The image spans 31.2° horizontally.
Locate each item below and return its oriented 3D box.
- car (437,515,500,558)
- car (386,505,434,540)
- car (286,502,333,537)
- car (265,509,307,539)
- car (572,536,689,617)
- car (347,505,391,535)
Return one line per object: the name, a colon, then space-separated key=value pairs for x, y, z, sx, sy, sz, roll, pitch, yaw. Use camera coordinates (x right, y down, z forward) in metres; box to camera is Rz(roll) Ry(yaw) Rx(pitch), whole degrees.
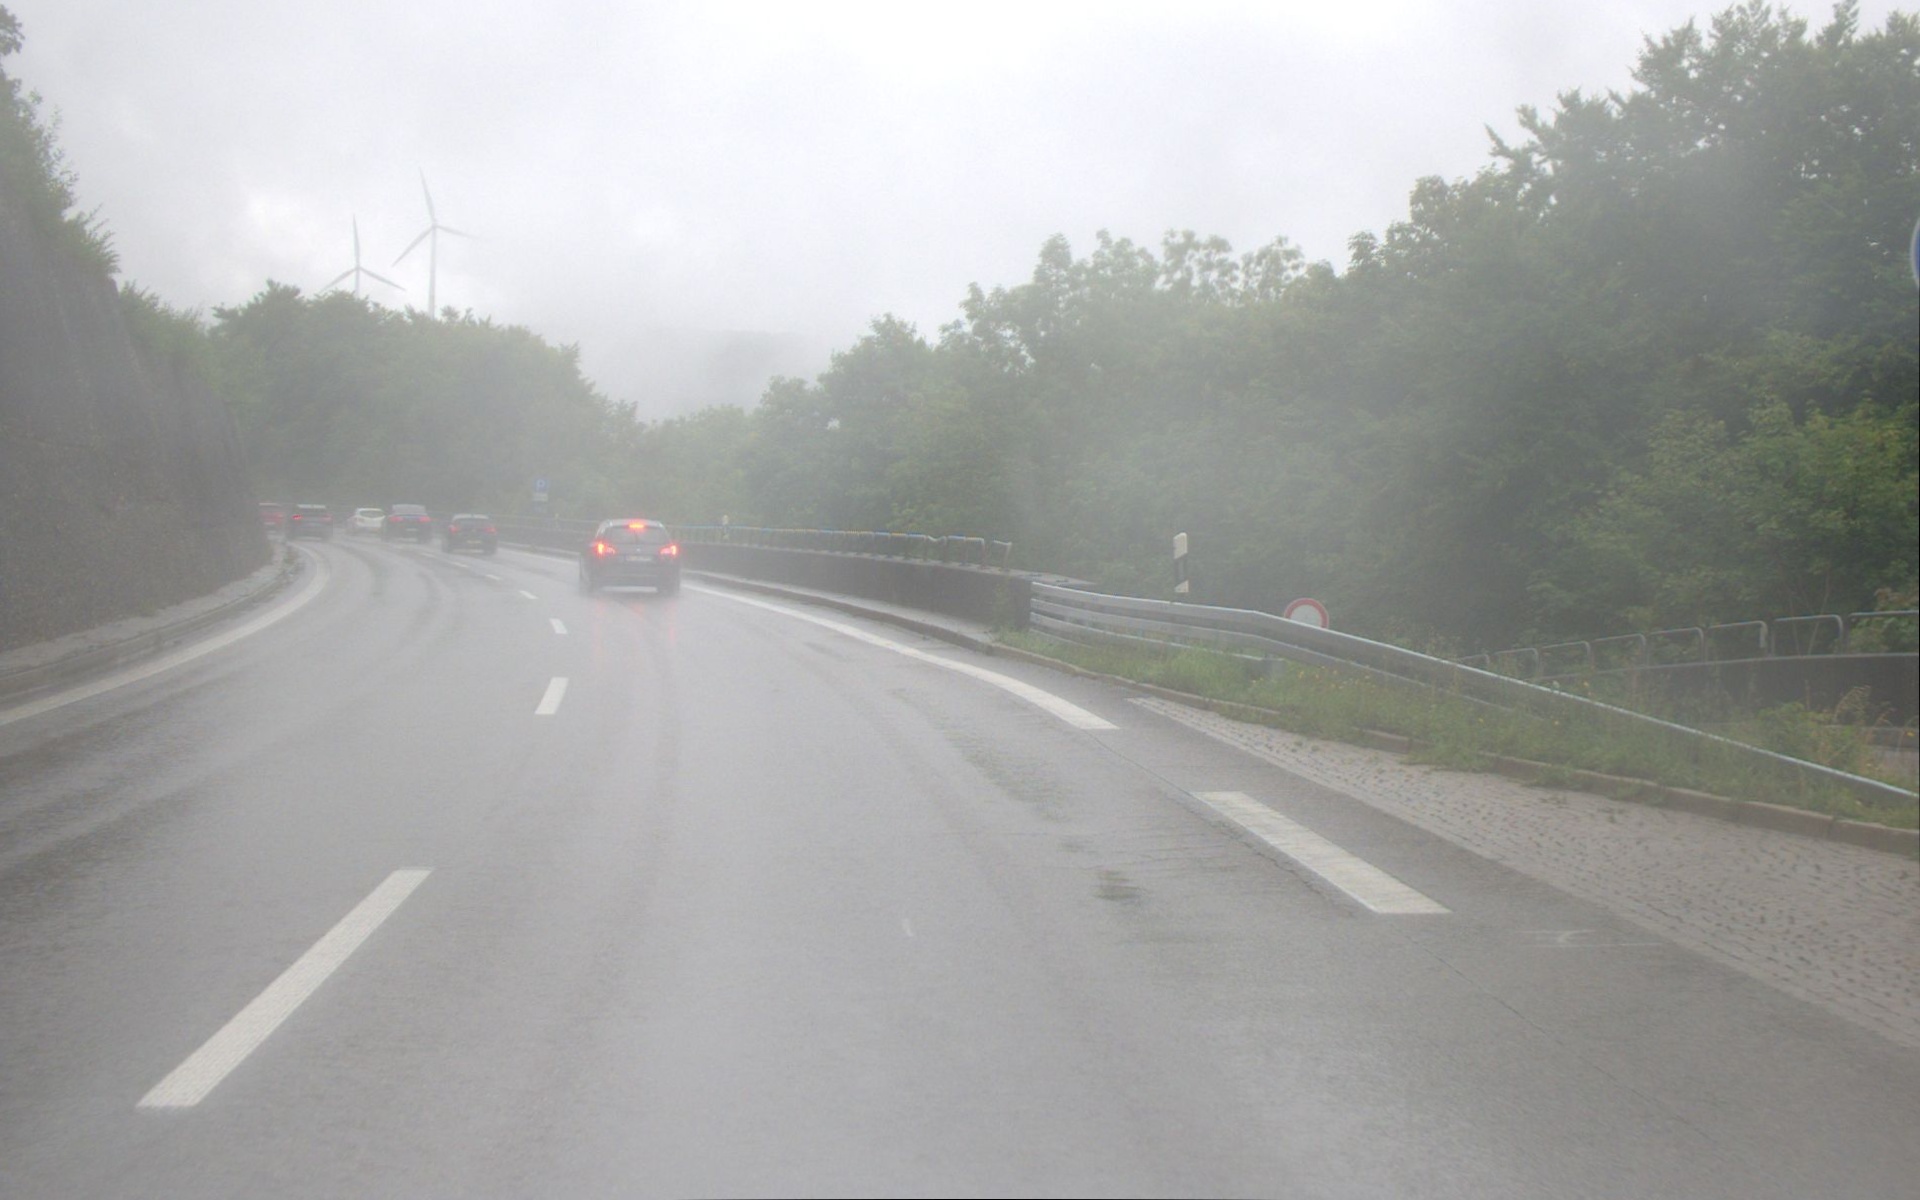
car: x=-18.039 y=-2.352 z=126.106 sx=1.903 sy=1.494 sz=4.001 roll=1 pitch=1 yaw=-14
car: x=-24.753 y=-3.506 z=154.660 sx=1.903 sy=1.494 sz=4.001 roll=1 pitch=1 yaw=-12
car: x=-28.692 y=-3.553 z=151.637 sx=1.903 sy=1.494 sz=4.001 roll=1 pitch=1 yaw=-12
car: x=-34.901 y=-3.928 z=177.921 sx=1.903 sy=1.494 sz=4.001 roll=1 pitch=1 yaw=-14
car: x=-6.570 y=-0.485 z=68.213 sx=1.903 sy=1.494 sz=4.001 roll=1 pitch=1 yaw=-11
car: x=-30.153 y=-4.083 z=175.354 sx=1.903 sy=1.494 sz=4.001 roll=1 pitch=1 yaw=-14
